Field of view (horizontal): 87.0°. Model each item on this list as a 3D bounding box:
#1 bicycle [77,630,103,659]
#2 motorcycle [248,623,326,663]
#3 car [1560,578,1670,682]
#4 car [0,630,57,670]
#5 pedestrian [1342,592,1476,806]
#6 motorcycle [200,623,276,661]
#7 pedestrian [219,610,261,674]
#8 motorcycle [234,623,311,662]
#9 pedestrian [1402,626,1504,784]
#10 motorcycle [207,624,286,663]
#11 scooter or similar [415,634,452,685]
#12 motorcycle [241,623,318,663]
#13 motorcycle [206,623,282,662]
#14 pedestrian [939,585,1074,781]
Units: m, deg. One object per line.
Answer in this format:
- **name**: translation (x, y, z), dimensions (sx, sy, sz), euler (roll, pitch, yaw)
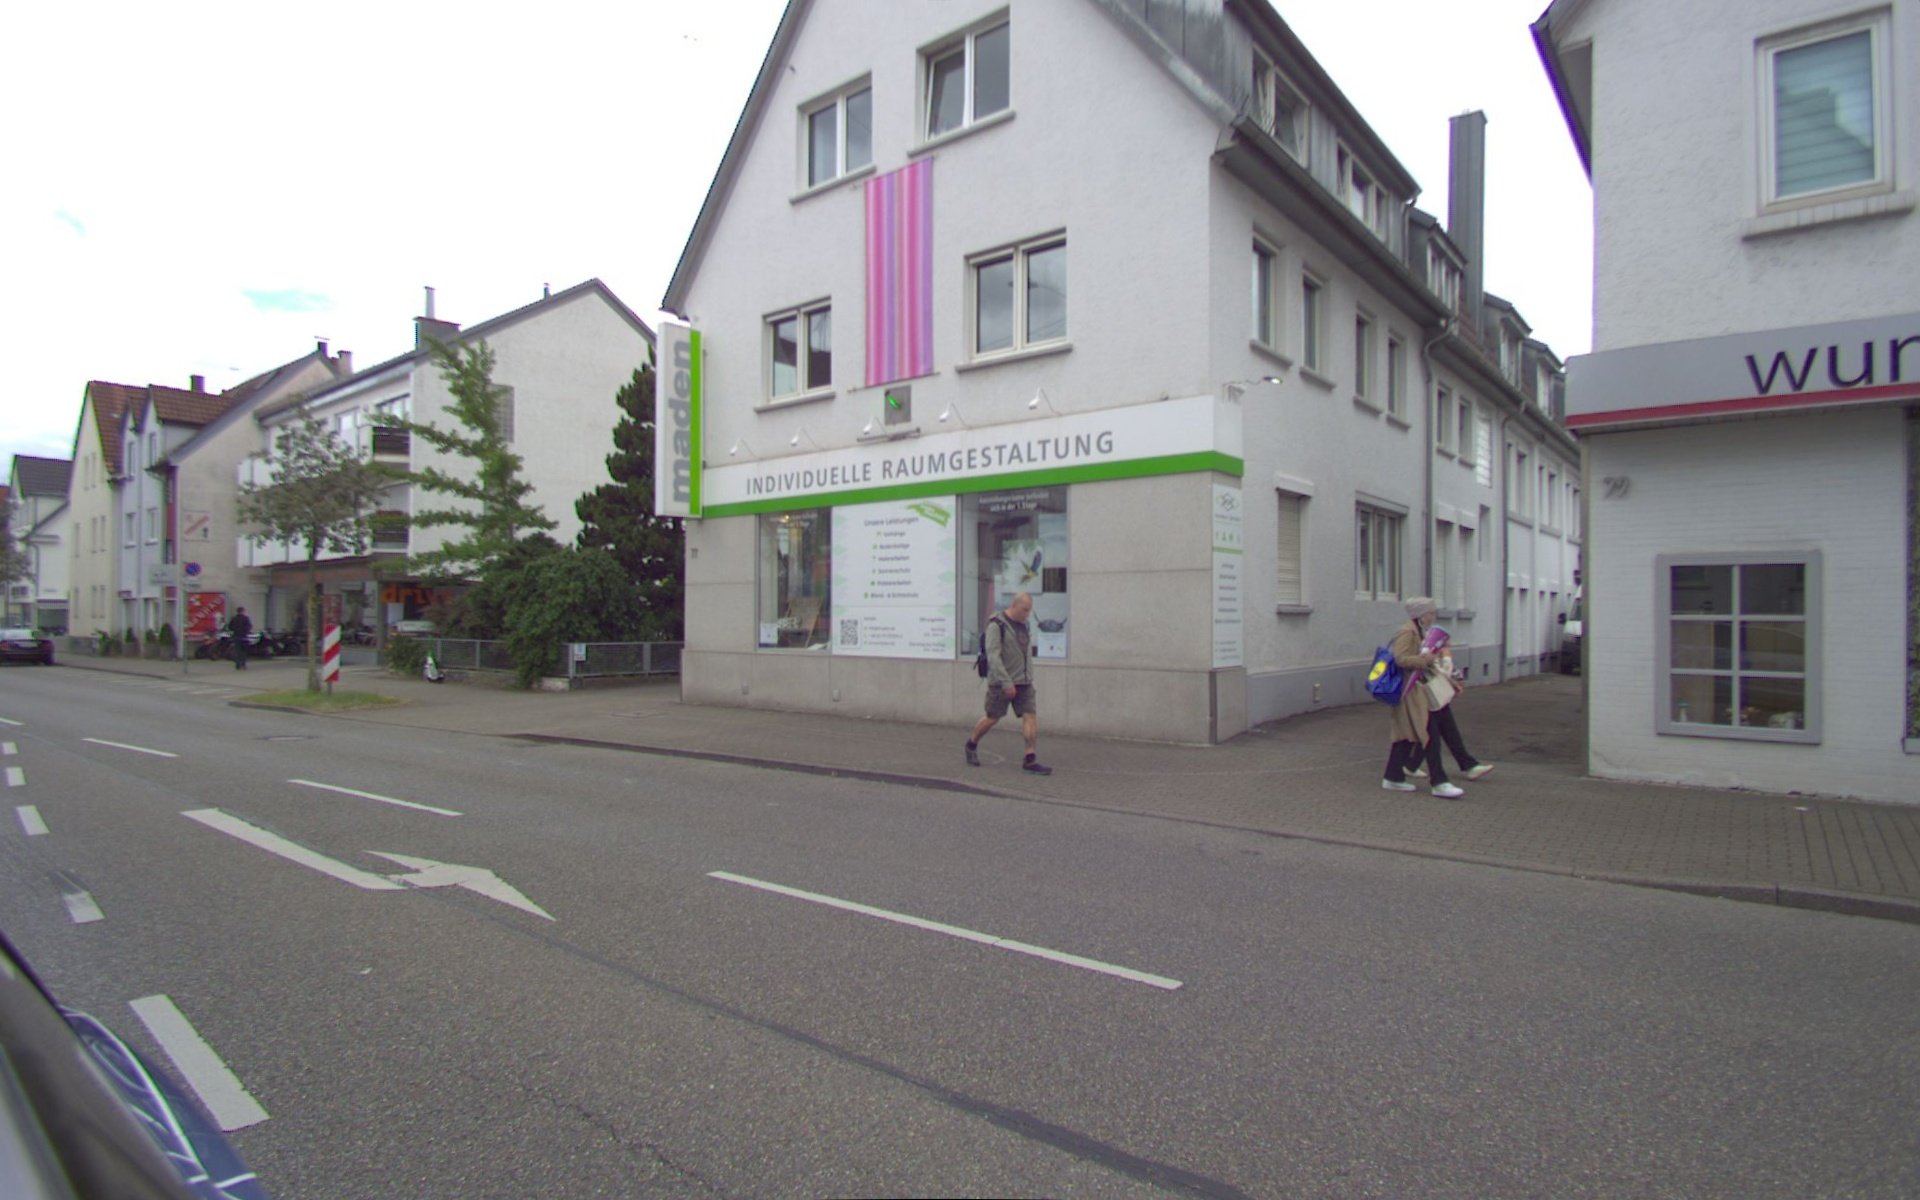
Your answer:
- **bicycle**: translation (-37.659, 1.929, 43.819), dimensions (2.022, 1.205, 0.509), euler (-1, -1, 39)
- **motorcycle**: translation (-23.915, 1.502, 36.021), dimensions (0.612, 1.275, 2.204), euler (-1, 1, 38)
- **car**: translation (18.164, 0.717, 27.918), dimensions (1.957, 2.527, 5.918), euler (2, 1, 38)
- **car**: translation (-36.093, 1.859, 38.613), dimensions (4.337, 1.428, 1.770), euler (-1, -2, 39)
- **pedestrian**: translation (3.704, 0.770, 8.347), dimensions (0.792, 1.629, 0.744), euler (-1, 2, 40)
- **motorcycle**: translation (-27.247, 1.582, 38.218), dimensions (0.612, 1.275, 2.204), euler (-1, 1, 38)
- **pedestrian**: translation (-21.839, 1.271, 30.693), dimensions (1.019, 1.863, 0.744), euler (-1, 2, 40)
- **motorcycle**: translation (-25.156, 1.545, 37.055), dimensions (0.612, 1.275, 2.204), euler (-1, 1, 38)
- **pedestrian**: translation (4.310, 0.886, 8.851), dimensions (0.654, 1.289, 0.593), euler (-1, 0, 40)
- **motorcycle**: translation (-26.156, 1.569, 37.134), dimensions (0.698, 1.275, 2.204), euler (-1, 1, 38)
- **scooter or similar**: translation (-11.994, 1.337, 23.046), dimensions (1.179, 1.120, 0.336), euler (-1, -1, 41)
- **motorcycle**: translation (-24.547, 1.525, 36.550), dimensions (0.612, 1.275, 2.204), euler (-1, 1, 38)
- **motorcycle**: translation (-26.712, 1.571, 37.795), dimensions (0.612, 1.275, 2.204), euler (-1, 1, 38)
- **pedestrian**: translation (0.443, 0.756, 9.780), dimensions (1.019, 1.756, 0.744), euler (-1, 1, 40)
